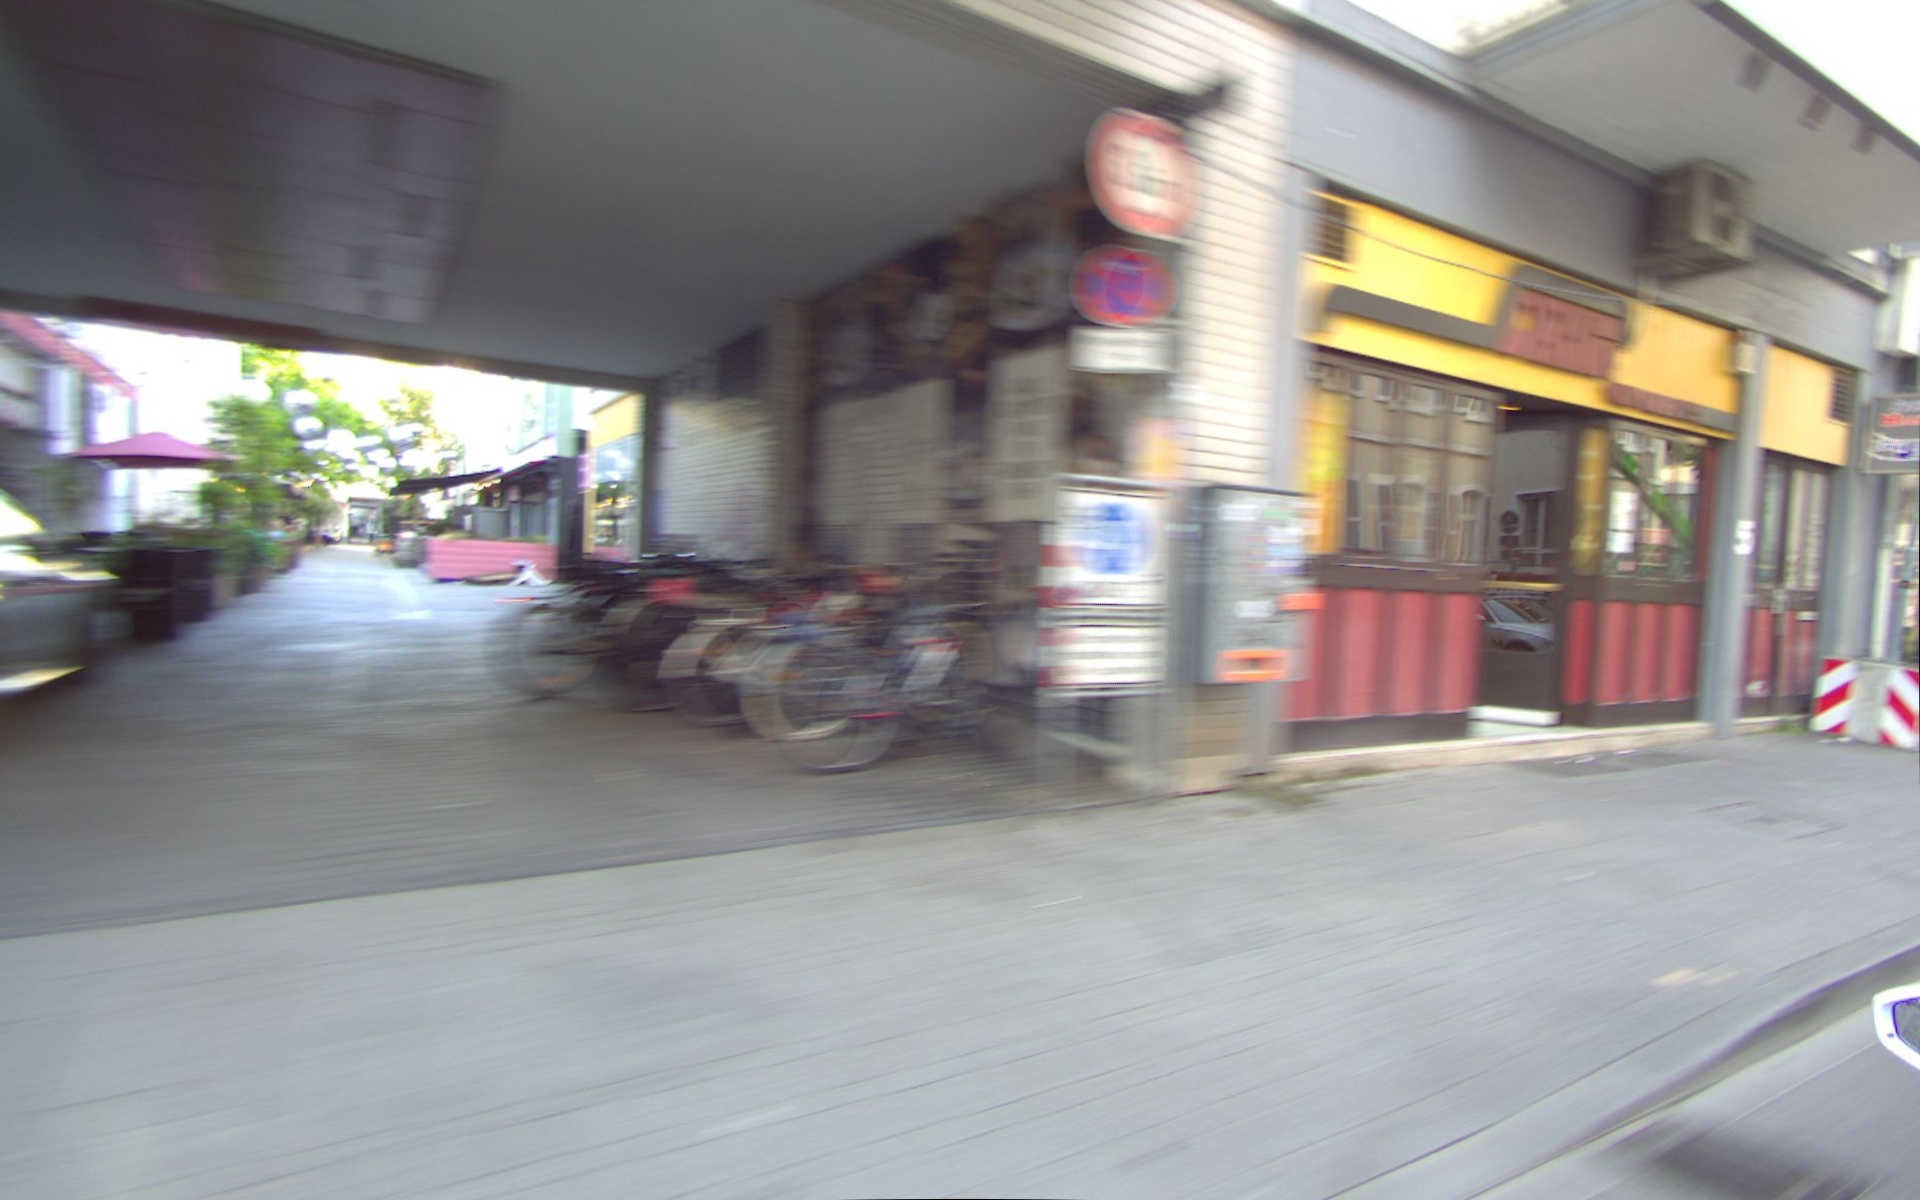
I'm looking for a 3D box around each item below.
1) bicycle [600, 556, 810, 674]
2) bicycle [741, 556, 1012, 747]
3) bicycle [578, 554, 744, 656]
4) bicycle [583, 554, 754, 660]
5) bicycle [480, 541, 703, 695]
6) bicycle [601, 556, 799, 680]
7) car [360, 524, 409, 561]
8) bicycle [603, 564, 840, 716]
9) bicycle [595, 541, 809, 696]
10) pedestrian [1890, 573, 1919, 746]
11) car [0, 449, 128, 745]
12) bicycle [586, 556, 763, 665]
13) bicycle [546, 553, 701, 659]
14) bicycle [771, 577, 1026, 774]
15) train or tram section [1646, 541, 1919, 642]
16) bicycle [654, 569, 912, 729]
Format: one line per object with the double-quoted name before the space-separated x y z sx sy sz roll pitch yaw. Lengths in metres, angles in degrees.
"bicycle" -2.359 0.141 9.428 1.856 1.031 0.424 1 1 -34
"bicycle" -0.525 0.326 6.739 1.771 1.154 0.425 1 3 -31
"bicycle" -3.179 0.065 10.733 1.631 1.031 0.425 2 1 -27
"bicycle" -2.990 0.083 10.354 1.631 1.031 0.425 2 1 -27
"bicycle" -2.942 0.140 8.132 1.641 1.139 0.423 1 2 -43
"bicycle" -2.297 0.166 8.944 1.632 1.042 0.425 1 1 -27
"car" -28.354 -2.835 49.516 1.976 1.619 3.967 1 3 -30
"bicycle" -1.757 0.286 7.491 1.634 1.031 0.449 1 3 -31
"bicycle" -2.113 0.144 8.323 1.636 1.176 0.424 1 4 -35
"pedestrian" 9.325 0.578 9.377 0.607 1.599 0.704 1 4 -34
"car" -6.195 -0.095 5.362 2.046 1.483 4.408 1 3 -31
"bicycle" -2.834 0.114 10.032 1.631 1.031 0.425 2 1 -27
"bicycle" -3.912 0.076 11.706 1.631 1.173 0.503 1 1 -27
"bicycle" -0.347 0.423 6.027 1.448 1.053 0.440 1 4 -32
"train or tram section" 33.665 -0.422 39.410 2.978 3.571 10.755 2 2 -30
"bicycle" -1.223 0.332 7.114 1.730 1.031 0.425 1 2 -31
